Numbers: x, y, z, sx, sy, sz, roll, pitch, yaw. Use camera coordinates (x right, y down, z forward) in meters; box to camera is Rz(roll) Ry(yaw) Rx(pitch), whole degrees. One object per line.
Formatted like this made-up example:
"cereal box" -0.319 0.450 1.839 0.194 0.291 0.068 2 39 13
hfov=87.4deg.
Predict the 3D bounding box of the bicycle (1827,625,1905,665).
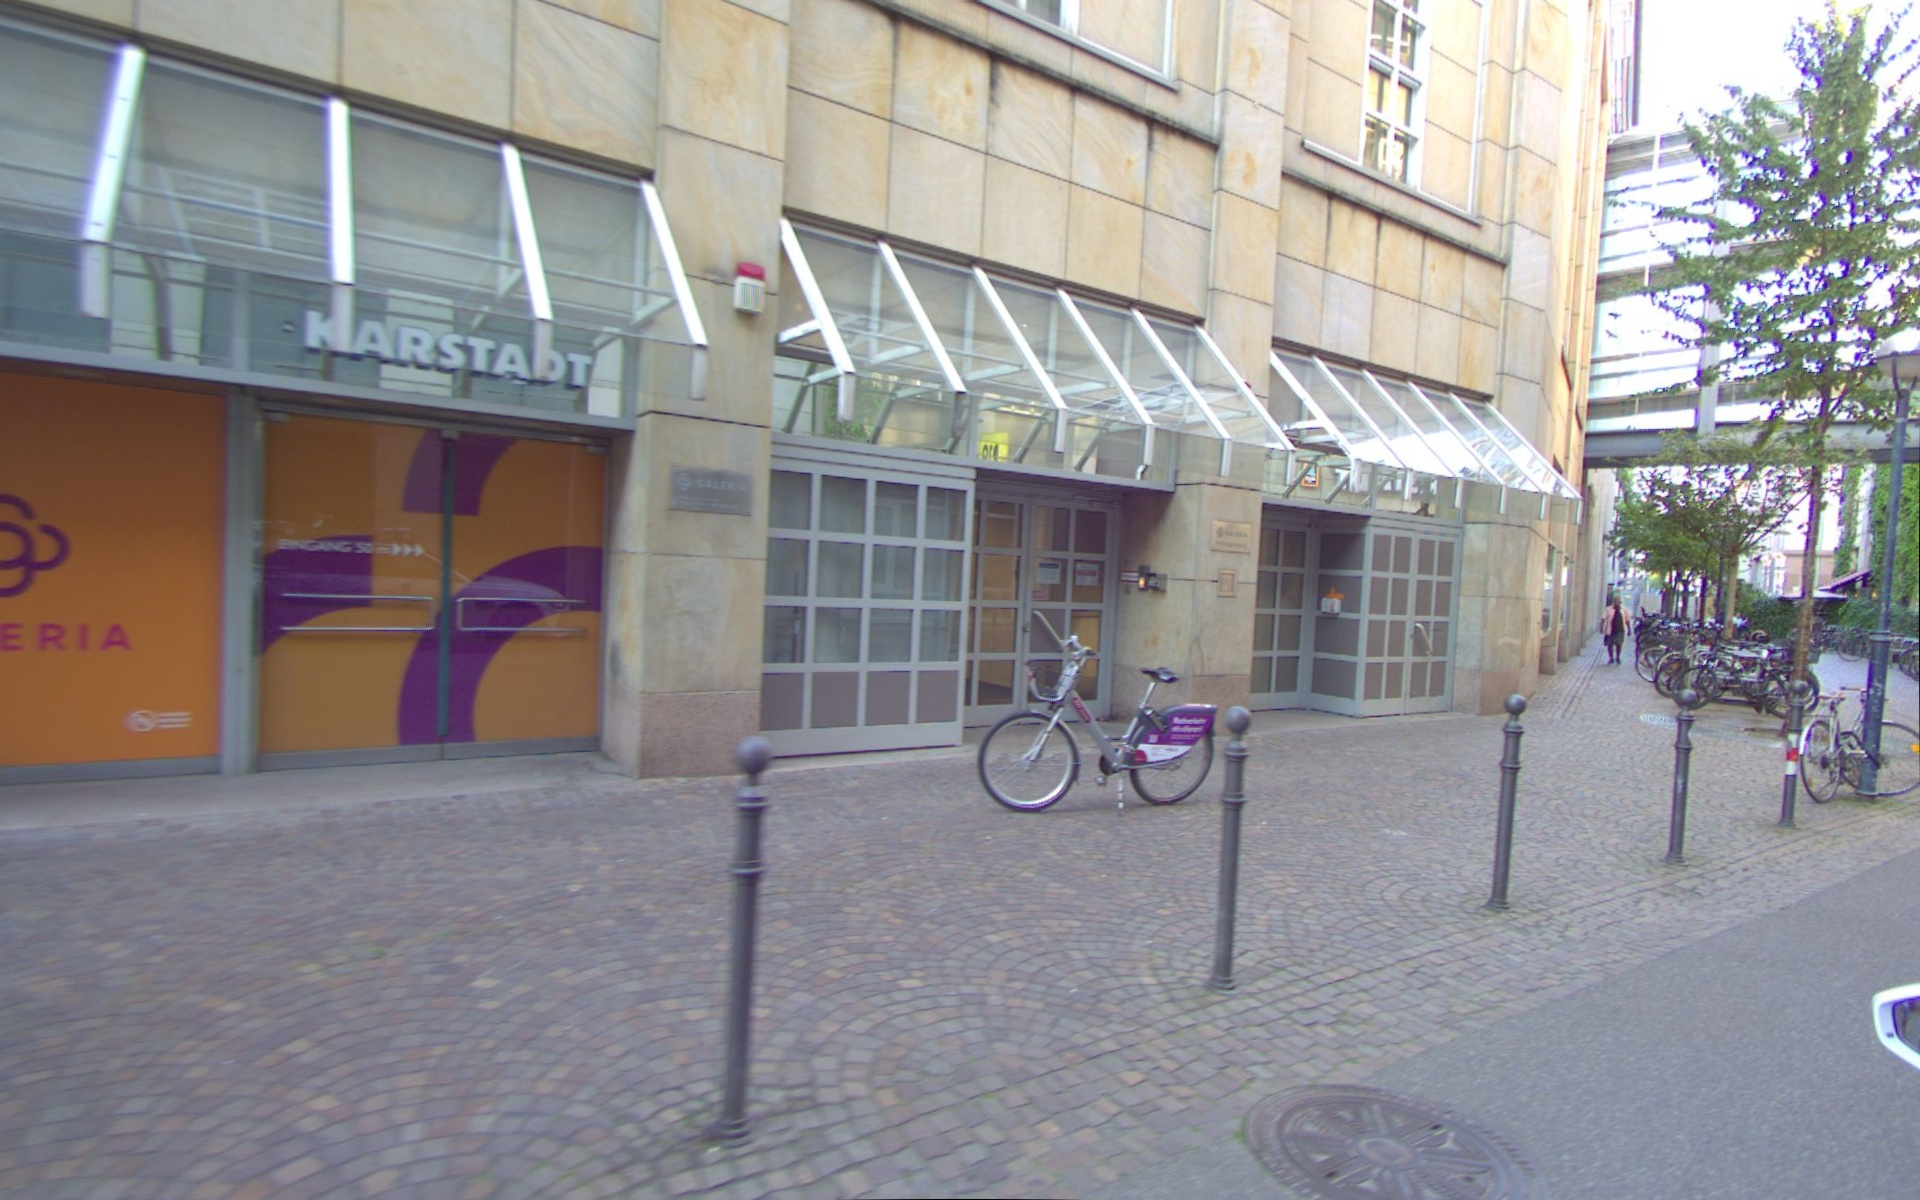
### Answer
"bicycle" 28.936 1.424 32.119 1.750 1.129 0.541 3 2 35

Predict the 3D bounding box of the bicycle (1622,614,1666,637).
"bicycle" 36.552 1.346 53.714 1.877 1.127 0.480 3 1 32

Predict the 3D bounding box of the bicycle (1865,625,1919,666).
"bicycle" 27.937 1.358 29.622 1.750 1.129 0.541 3 2 35

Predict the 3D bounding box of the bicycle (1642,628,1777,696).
"bicycle" 13.367 1.091 17.984 1.868 1.066 0.533 3 1 33

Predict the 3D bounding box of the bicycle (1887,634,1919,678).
"bicycle" 24.099 1.418 24.922 1.519 1.063 0.573 3 2 35

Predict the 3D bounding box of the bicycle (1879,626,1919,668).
"bicycle" 27.414 1.372 28.577 1.750 1.129 0.541 3 2 35

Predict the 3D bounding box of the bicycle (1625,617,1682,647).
"bicycle" 28.611 1.304 41.451 1.878 1.127 0.480 3 1 33

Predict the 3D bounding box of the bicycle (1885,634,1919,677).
"bicycle" 25.047 1.460 25.984 1.519 1.063 0.573 3 2 35

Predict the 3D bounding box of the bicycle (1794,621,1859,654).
"bicycle" 32.248 1.386 37.409 1.751 1.129 0.540 3 2 38

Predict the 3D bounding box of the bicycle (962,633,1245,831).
"bicycle" 0.933 0.821 6.506 1.737 1.153 0.521 2 1 -19

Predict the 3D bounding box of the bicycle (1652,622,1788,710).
"bicycle" 11.963 1.016 15.872 1.631 1.247 0.533 3 1 33

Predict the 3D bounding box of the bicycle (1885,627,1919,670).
"bicycle" 26.652 1.374 27.582 1.750 1.129 0.541 3 2 35

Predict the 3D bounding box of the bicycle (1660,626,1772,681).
"bicycle" 16.232 1.131 21.615 1.851 1.057 0.533 3 1 33

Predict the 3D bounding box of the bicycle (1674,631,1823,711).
"bicycle" 12.740 1.123 16.296 1.811 1.137 0.533 3 1 33

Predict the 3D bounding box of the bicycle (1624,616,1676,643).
"bicycle" 31.015 1.313 45.162 1.878 1.127 0.480 3 1 33

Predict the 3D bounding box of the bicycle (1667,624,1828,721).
"bicycle" 11.337 1.014 14.543 1.742 1.247 0.533 3 1 33

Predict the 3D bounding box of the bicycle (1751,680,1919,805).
"bicycle" 7.642 1.204 8.634 1.634 0.951 0.492 2 3 -21

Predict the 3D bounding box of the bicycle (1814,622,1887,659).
"bicycle" 29.946 1.340 33.808 1.750 1.129 0.541 3 2 35

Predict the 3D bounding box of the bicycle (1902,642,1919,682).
"bicycle" 22.985 1.481 23.167 1.750 0.916 0.462 3 2 35

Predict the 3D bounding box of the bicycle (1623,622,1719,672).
"bicycle" 16.834 1.102 23.821 1.799 1.057 0.533 3 1 33

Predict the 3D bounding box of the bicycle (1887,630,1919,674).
"bicycle" 25.936 1.414 26.745 1.750 1.129 0.541 3 2 35

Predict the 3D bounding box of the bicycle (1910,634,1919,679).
"bicycle" 23.670 1.398 23.836 1.519 1.063 0.573 3 2 35

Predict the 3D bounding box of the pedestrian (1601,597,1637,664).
"pedestrian" 16.317 0.743 24.888 0.688 1.604 0.717 3 1 33

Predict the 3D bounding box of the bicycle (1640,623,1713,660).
"bicycle" 22.136 1.271 31.068 1.755 1.033 0.480 3 1 33

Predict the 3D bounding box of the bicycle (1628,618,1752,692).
"bicycle" 13.621 1.000 18.799 1.808 1.241 0.533 3 1 33

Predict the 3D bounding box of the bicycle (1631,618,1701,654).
"bicycle" 22.489 1.149 32.023 1.755 1.033 0.480 3 1 33

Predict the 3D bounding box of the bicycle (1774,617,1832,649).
"bicycle" 35.253 1.370 42.042 1.750 1.206 0.584 3 2 35

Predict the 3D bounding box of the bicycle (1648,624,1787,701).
"bicycle" 13.099 1.058 17.447 1.846 1.193 0.533 3 1 33
